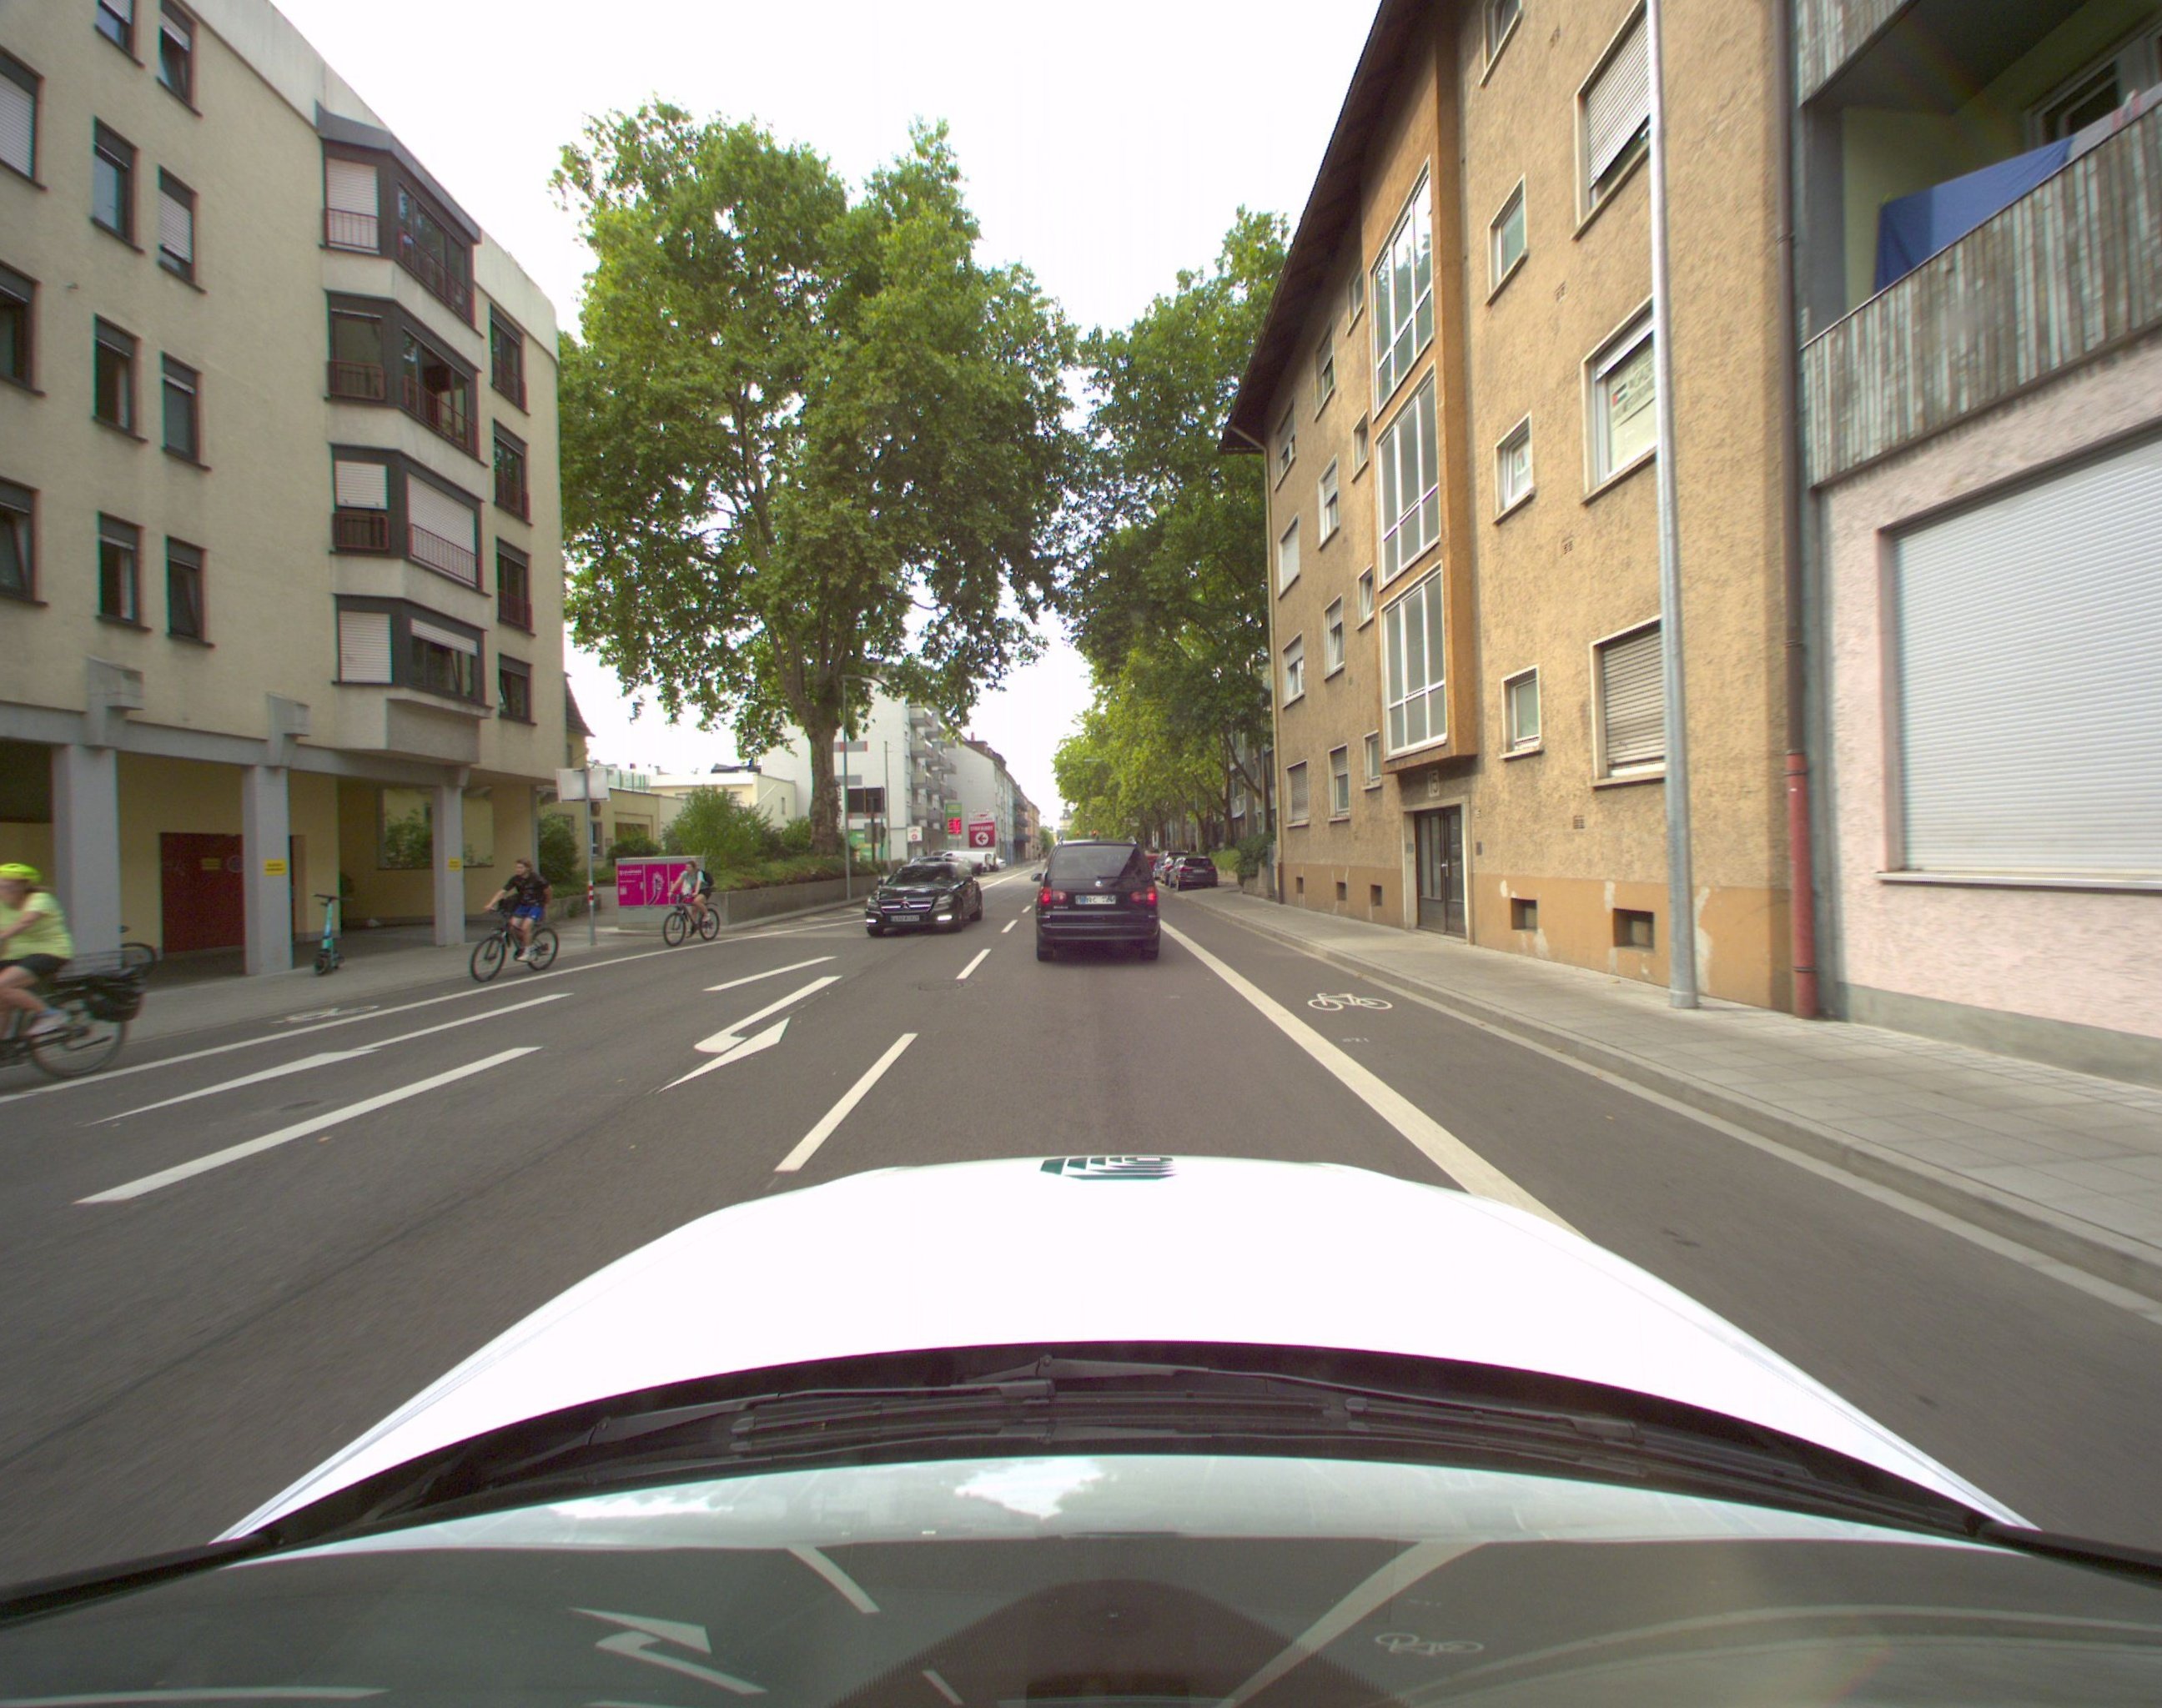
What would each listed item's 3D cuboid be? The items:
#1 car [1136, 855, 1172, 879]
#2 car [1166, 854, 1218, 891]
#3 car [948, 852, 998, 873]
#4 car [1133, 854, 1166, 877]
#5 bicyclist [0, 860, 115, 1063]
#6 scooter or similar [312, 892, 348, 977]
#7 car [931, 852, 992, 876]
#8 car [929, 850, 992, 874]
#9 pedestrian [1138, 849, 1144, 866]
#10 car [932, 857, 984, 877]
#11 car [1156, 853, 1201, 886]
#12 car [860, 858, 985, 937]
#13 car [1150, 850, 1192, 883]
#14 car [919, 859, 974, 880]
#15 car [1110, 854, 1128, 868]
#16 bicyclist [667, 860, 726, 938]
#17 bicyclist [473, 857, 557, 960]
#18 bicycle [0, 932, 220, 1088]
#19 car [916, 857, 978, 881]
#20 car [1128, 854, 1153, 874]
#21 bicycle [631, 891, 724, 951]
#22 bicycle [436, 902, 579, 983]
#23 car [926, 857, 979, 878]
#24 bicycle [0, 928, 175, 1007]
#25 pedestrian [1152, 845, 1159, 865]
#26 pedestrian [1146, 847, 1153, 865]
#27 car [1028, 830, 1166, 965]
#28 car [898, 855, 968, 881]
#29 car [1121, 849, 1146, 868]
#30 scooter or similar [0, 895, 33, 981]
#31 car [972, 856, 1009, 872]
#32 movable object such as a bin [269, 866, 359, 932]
[{"bbox_3d":[4.418,0.779,49.847,1.671,1.394,4.458,-1,0,-1],"label":"car"},{"bbox_3d":[4.765,0.762,35.375,1.653,1.422,3.865,-2,1,-1],"label":"car"},{"bbox_3d":[-9.789,0.748,74.236,4.296,1.870,1.823,0,0,-2],"label":"car"},{"bbox_3d":[4.609,0.746,55.595,1.723,1.517,4.868,-1,0,-1],"label":"car"},{"bbox_3d":[-8.550,0.828,6.489,0.654,1.525,0.841,0,1,4],"label":"bicyclist"},{"bbox_3d":[-11.923,1.252,12.941,0.288,1.265,1.163,-2,0,-37],"label":"scooter or similar"},{"bbox_3d":[-9.528,0.766,65.178,4.511,1.878,2.047,0,0,0],"label":"car"},{"bbox_3d":[-9.941,0.686,67.684,4.902,1.903,1.999,1,0,-2],"label":"car"},{"bbox_3d":[6.020,0.325,81.921,0.586,1.701,0.508,0,1,0],"label":"pedestrian"},{"bbox_3d":[-9.377,0.958,62.391,3.671,1.444,1.752,0,0,-2],"label":"car"},{"bbox_3d":[4.760,0.735,40.073,1.653,1.422,3.945,-2,1,-1],"label":"car"},{"bbox_3d":[-3.260,0.826,17.641,1.805,1.408,4.607,-2,0,-1],"label":"car"},{"bbox_3d":[4.925,0.653,45.081,1.653,1.650,4.416,0,1,-2],"label":"car"},{"bbox_3d":[-9.611,1.080,58.384,3.672,1.426,1.752,0,0,-2],"label":"car"},{"bbox_3d":[3.906,0.721,84.560,1.670,1.394,4.460,0,0,0],"label":"car"},{"bbox_3d":[-8.012,0.915,17.011,0.654,1.525,1.077,0,1,4],"label":"bicyclist"},{"bbox_3d":[-8.767,0.816,12.648,0.654,1.525,0.857,0,1,4],"label":"bicyclist"},{"bbox_3d":[-8.578,1.271,6.577,0.734,1.007,2.254,0,1,4],"label":"bicycle"},{"bbox_3d":[-9.196,1.006,56.258,3.926,1.569,1.754,1,0,1],"label":"car"},{"bbox_3d":[4.428,0.704,60.821,1.616,1.386,4.001,1,0,1],"label":"car"},{"bbox_3d":[-8.258,1.334,16.787,0.734,1.007,2.197,0,1,3],"label":"bicycle"},{"bbox_3d":[-8.833,1.329,12.670,0.734,1.007,1.978,0,1,3],"label":"bicycle"},{"bbox_3d":[-9.497,1.017,60.399,3.672,1.485,1.752,0,0,-2],"label":"car"},{"bbox_3d":[-13.303,1.484,10.946,0.428,0.821,1.618,-2,0,0],"label":"bicycle"},{"bbox_3d":[7.483,0.110,81.713,0.640,1.975,0.692,0,1,0],"label":"pedestrian"},{"bbox_3d":[6.883,0.197,81.883,0.586,1.838,0.692,0,1,0],"label":"pedestrian"},{"bbox_3d":[0.172,0.584,12.670,1.807,1.766,3.735,-1,0,-1],"label":"car"},{"bbox_3d":[-9.730,0.924,53.704,4.243,1.605,1.968,0,1,0],"label":"car"},{"bbox_3d":[4.194,0.366,65.894,1.625,1.470,4.315,-1,0,-1],"label":"car"},{"bbox_3d":[-15.553,1.224,11.377,0.285,1.201,1.175,-2,2,-4],"label":"scooter or similar"},{"bbox_3d":[-8.518,0.973,76.653,3.334,1.497,1.595,0,-1,-3],"label":"car"},{"bbox_3d":[-18.772,1.080,19.969,1.139,1.541,1.065,-2,0,-3],"label":"movable object such as a bin"}]
